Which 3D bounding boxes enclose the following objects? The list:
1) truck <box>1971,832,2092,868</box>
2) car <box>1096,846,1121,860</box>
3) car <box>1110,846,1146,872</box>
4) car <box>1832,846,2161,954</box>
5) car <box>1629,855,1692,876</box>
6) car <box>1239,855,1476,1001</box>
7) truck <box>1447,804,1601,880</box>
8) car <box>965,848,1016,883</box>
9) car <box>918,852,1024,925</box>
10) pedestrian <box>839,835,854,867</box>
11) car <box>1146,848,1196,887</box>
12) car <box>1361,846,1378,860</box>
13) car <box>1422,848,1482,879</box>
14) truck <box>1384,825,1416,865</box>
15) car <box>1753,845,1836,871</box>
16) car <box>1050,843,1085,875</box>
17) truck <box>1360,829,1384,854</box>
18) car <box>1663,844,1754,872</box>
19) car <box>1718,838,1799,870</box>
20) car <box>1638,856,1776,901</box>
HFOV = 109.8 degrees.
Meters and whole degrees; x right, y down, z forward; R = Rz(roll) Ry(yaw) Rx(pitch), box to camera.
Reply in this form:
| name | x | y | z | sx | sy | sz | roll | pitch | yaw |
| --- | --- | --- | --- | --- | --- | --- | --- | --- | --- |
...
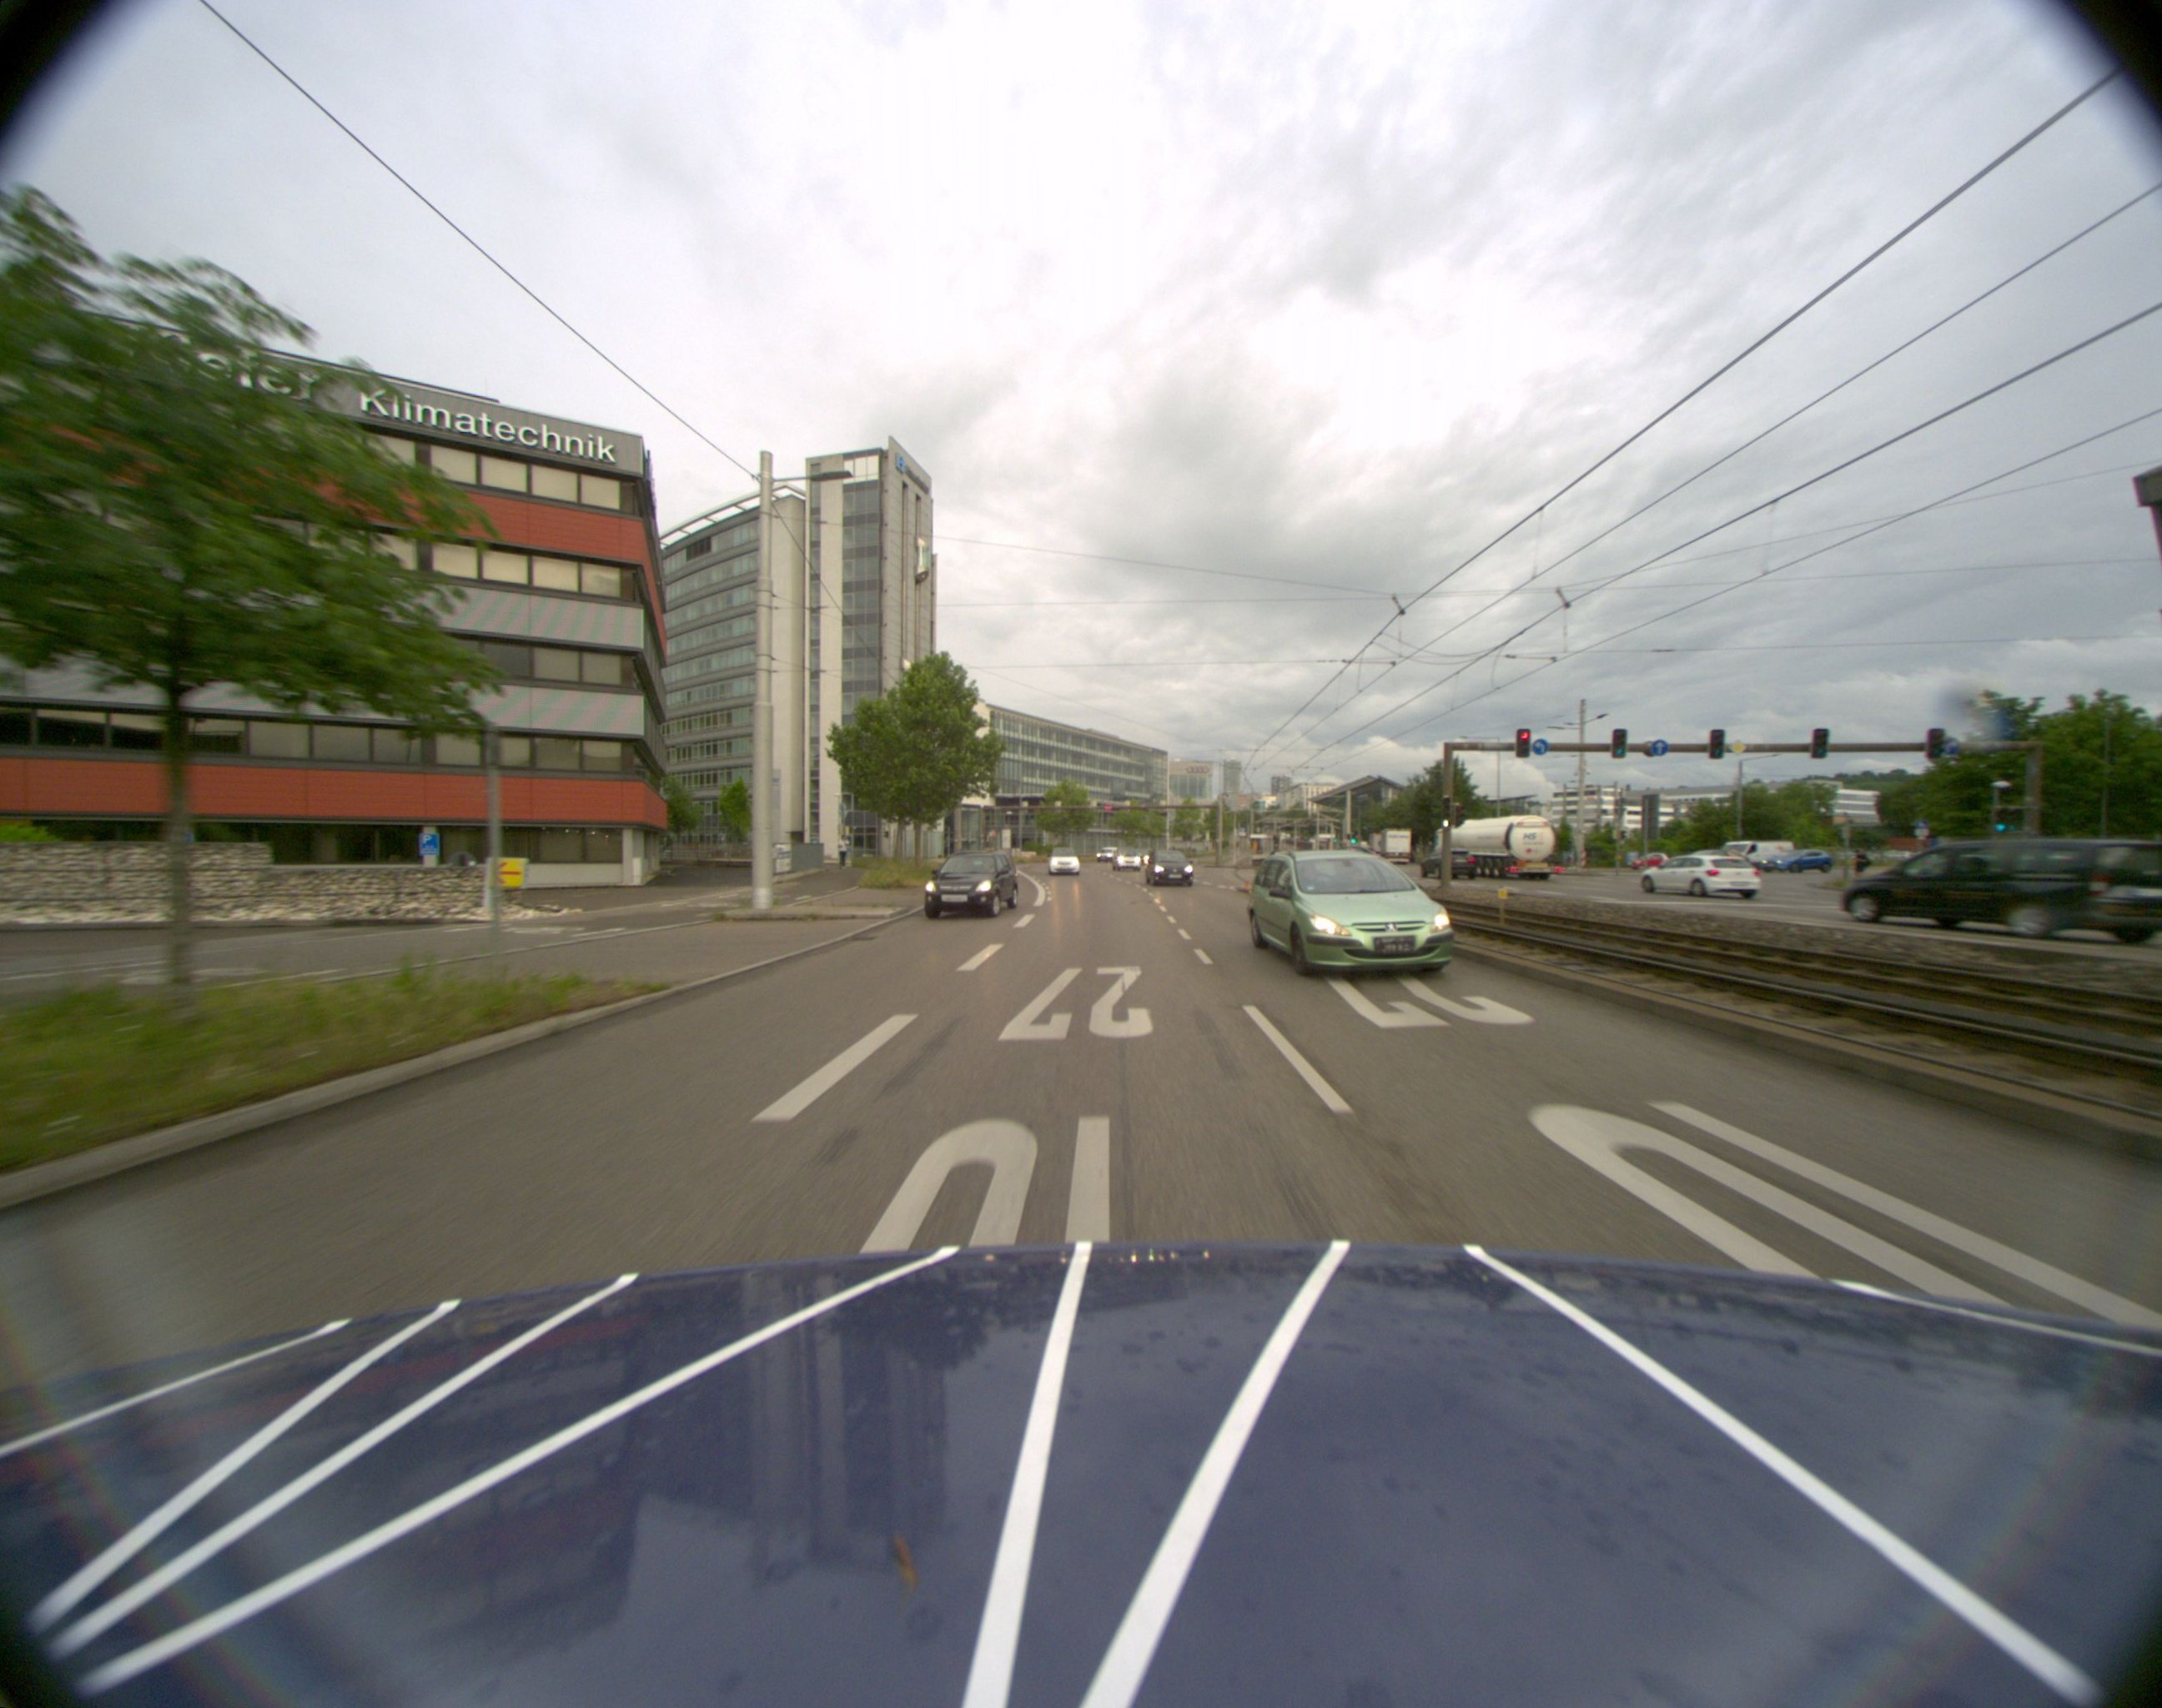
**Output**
| name | x | y | z | sx | sy | sz | roll | pitch | yaw |
| --- | --- | --- | --- | --- | --- | --- | --- | --- | --- |
| truck | 54.848 | -0.239 | 43.926 | 2.003 | 2.002 | 3.991 | 1 | 0 | -25 |
| car | 3.214 | -0.158 | 88.805 | 1.887 | 1.584 | 3.986 | 1 | 1 | 17 |
| car | 3.030 | 0.300 | 49.486 | 1.763 | 1.535 | 3.712 | -2 | 1 | -5 |
| car | 17.599 | 0.739 | 14.522 | 1.998 | 1.721 | 4.679 | 1 | 0 | 4 |
| car | 50.627 | 0.976 | 66.495 | 3.990 | 1.783 | 2.003 | 1 | 1 | 23 |
| car | 3.410 | 0.804 | 10.254 | 1.762 | 1.489 | 4.137 | -1 | 1 | 1 |
| truck | 24.717 | -0.624 | 43.408 | 4.086 | 3.734 | 10.862 | 1 | 0 | 10 |
| car | -4.127 | 0.490 | 35.094 | 1.878 | 1.485 | 3.836 | 0 | 0 | 0 |
| car | -2.802 | 0.822 | 20.362 | 1.792 | 1.637 | 4.361 | -2 | 1 | 5 |
| pedestrian | -13.784 | -0.178 | 44.656 | 0.683 | 1.890 | 0.677 | -3 | 1 | -24 |
| car | 3.809 | 0.535 | 32.749 | 1.762 | 1.535 | 3.714 | 1 | 1 | 1 |
| car | 34.048 | -0.123 | 89.788 | 1.813 | 1.565 | 4.006 | 1 | 0 | 20 |
| car | 20.022 | 0.483 | 41.170 | 1.819 | 1.565 | 4.003 | 1 | 0 | 9 |
| truck | 37.411 | -0.998 | 89.350 | 3.261 | 4.503 | 7.103 | 1 | 0 | 22 |
| car | 48.914 | 0.286 | 52.108 | 4.254 | 1.706 | 1.911 | 1 | 1 | -8 |
| car | -0.822 | 0.244 | 43.447 | 1.819 | 1.585 | 3.833 | -1 | 2 | -3 |
| truck | 49.575 | -2.146 | 129.546 | 3.381 | 4.115 | 7.640 | 1 | 0 | 19 |
| car | 42.342 | 0.256 | 51.318 | 4.662 | 1.825 | 1.999 | 1 | 1 | -5 |
| car | 50.611 | 0.010 | 56.761 | 5.067 | 2.318 | 1.997 | 1 | 1 | -15 |
| car | 21.925 | 0.808 | 26.841 | 1.798 | 1.437 | 3.924 | 1 | 0 | 4 |
